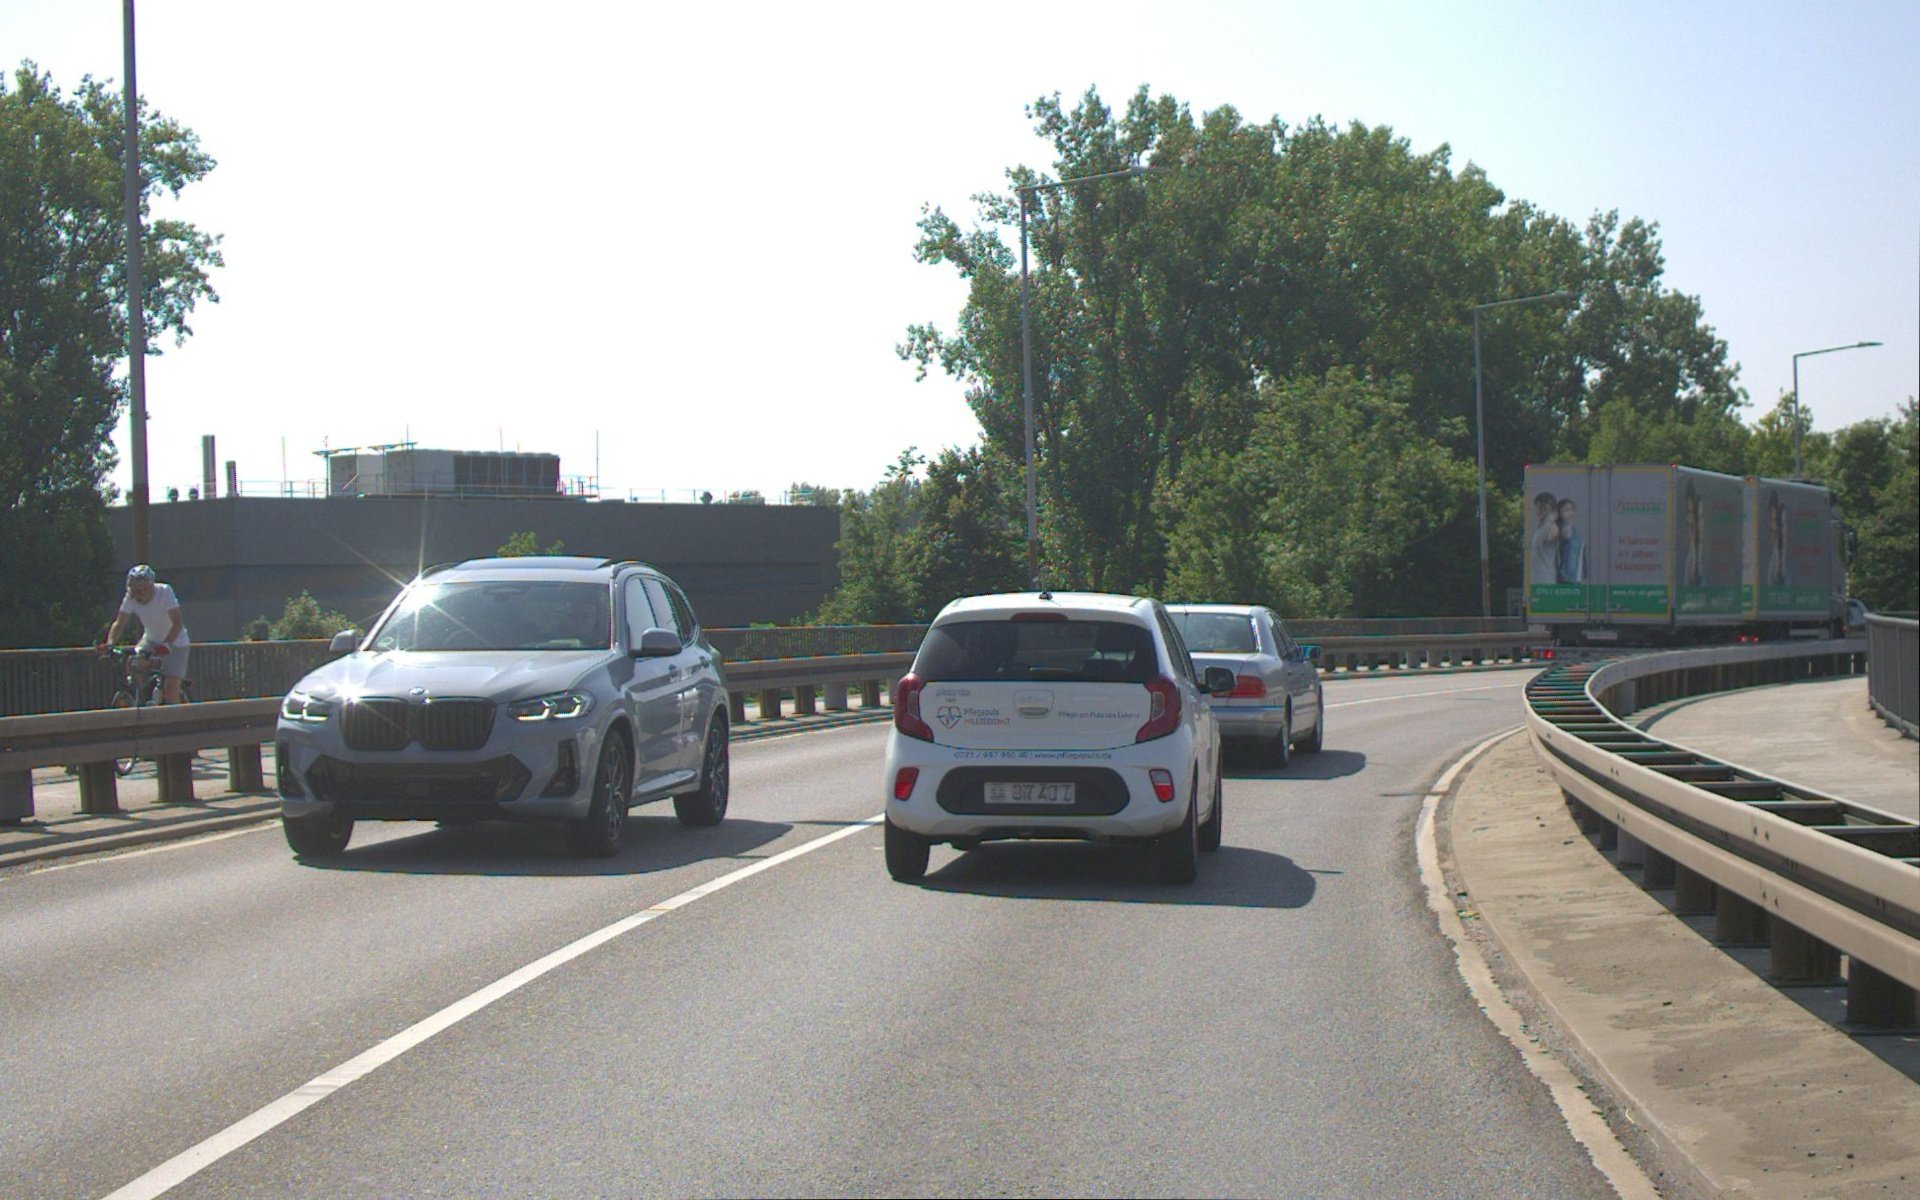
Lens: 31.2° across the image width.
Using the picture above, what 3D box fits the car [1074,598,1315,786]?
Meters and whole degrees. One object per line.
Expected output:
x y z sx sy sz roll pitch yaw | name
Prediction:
2.148 0.744 30.535 1.939 1.481 4.899 1 0 6 | car

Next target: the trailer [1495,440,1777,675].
11.915 -0.772 59.983 3.228 3.745 7.815 3 2 22 | trailer

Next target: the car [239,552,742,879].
-2.645 0.642 20.495 1.858 1.677 4.472 2 -1 7 | car

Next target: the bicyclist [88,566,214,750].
-6.505 0.468 27.675 0.608 1.434 1.078 -2 -1 8 | bicyclist

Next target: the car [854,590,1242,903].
0.593 0.769 19.055 1.702 1.489 3.998 2 -1 7 | car

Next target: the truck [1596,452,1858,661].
15.119 -0.877 67.254 3.264 3.745 8.360 3 2 24 | truck

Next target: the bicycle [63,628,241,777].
-6.484 0.809 27.696 0.612 1.131 2.148 -3 -1 8 | bicycle
